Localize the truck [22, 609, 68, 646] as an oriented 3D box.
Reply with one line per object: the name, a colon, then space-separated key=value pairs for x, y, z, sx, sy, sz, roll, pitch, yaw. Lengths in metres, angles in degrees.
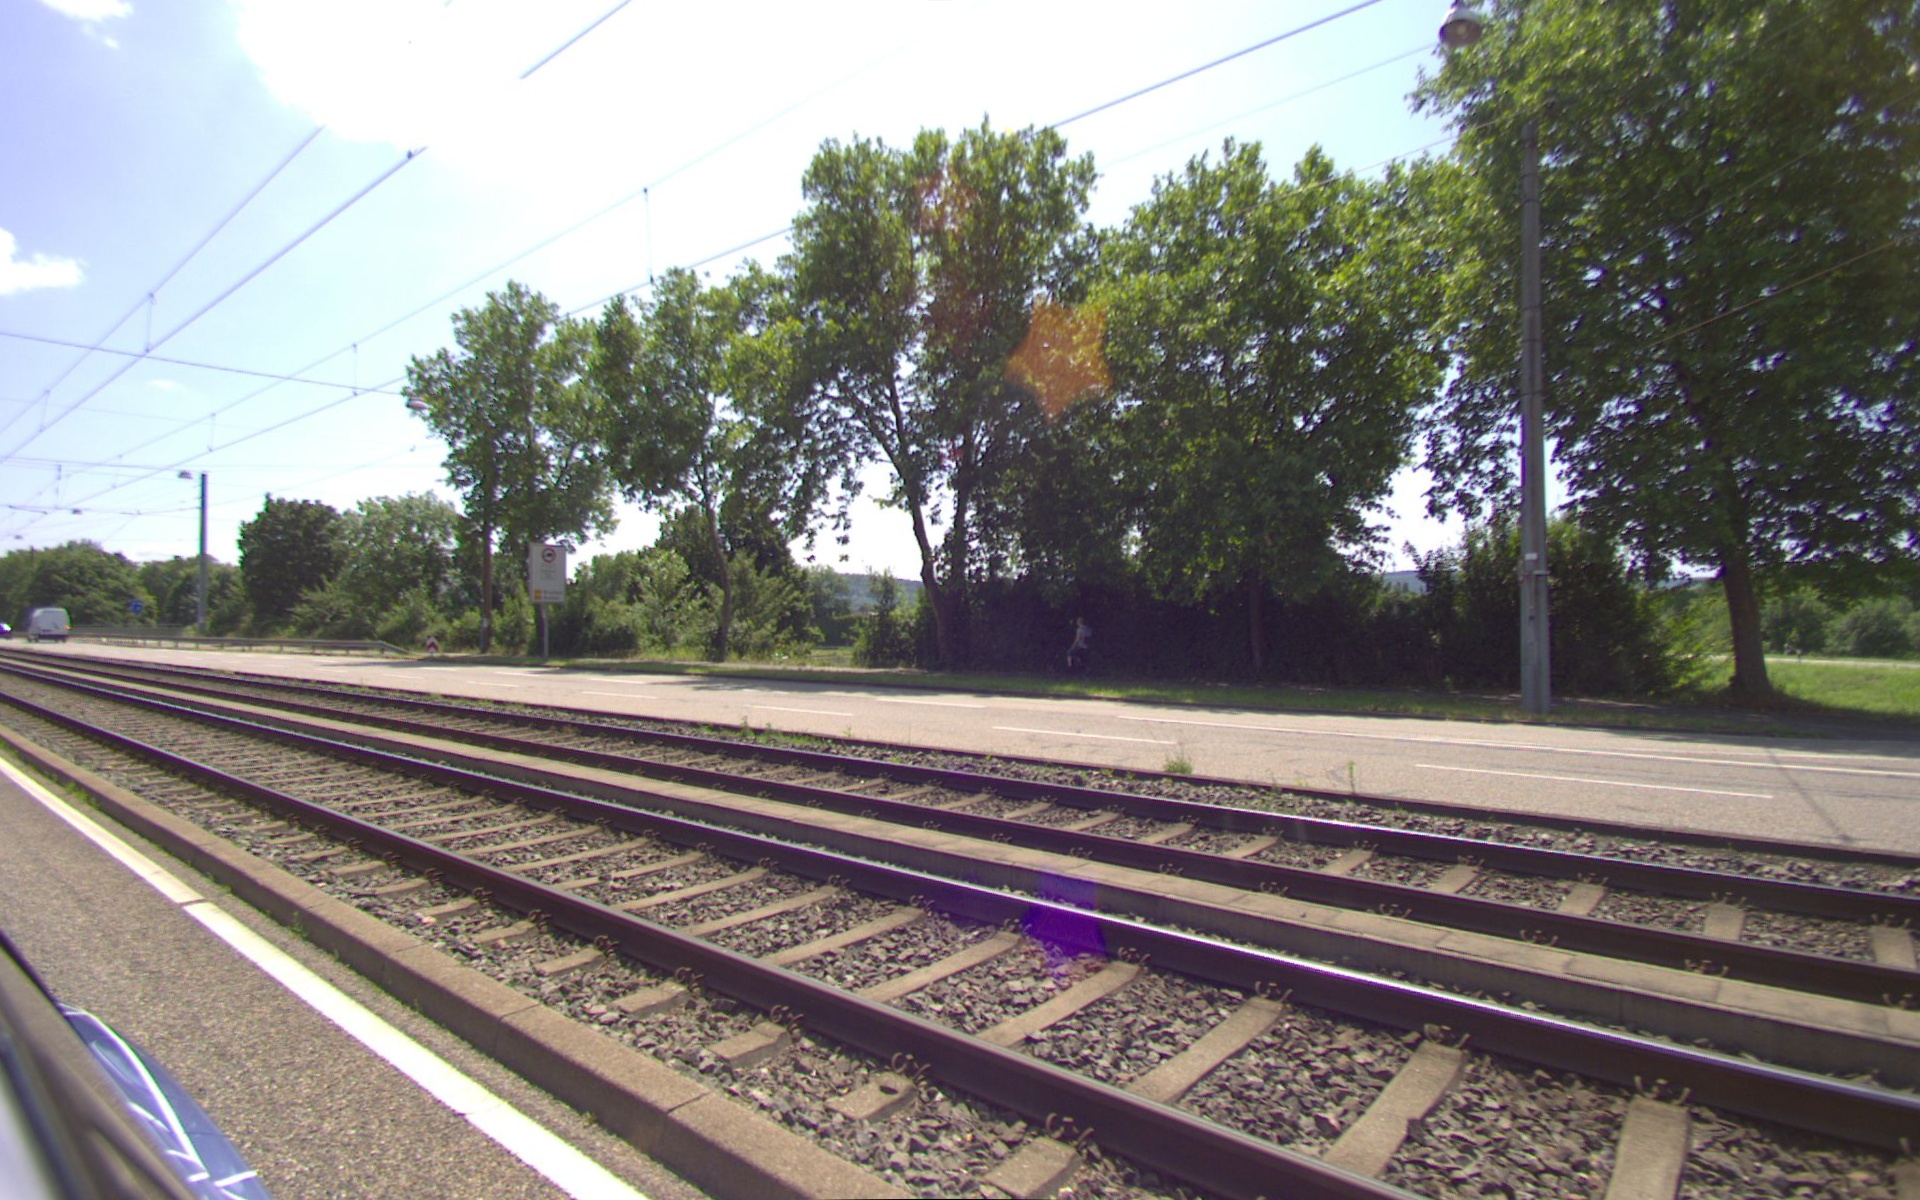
truck: x=-75.605 y=2.284 z=83.592 sx=6.316 sy=2.961 sz=2.032 roll=-1 pitch=-3 yaw=41

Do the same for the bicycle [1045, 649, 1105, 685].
bicycle: x=3.359 y=1.961 z=29.730 sx=0.721 sy=0.995 sz=1.765 roll=1 pitch=-2 yaw=-37

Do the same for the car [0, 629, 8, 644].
car: x=-96.566 y=3.609 z=101.037 sx=4.425 sy=1.526 sz=1.799 roll=-1 pitch=-3 yaw=41

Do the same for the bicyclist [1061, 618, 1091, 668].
bicyclist: x=3.410 y=1.262 z=29.733 sx=0.577 sy=1.440 sz=0.647 roll=1 pitch=-2 yaw=-36
